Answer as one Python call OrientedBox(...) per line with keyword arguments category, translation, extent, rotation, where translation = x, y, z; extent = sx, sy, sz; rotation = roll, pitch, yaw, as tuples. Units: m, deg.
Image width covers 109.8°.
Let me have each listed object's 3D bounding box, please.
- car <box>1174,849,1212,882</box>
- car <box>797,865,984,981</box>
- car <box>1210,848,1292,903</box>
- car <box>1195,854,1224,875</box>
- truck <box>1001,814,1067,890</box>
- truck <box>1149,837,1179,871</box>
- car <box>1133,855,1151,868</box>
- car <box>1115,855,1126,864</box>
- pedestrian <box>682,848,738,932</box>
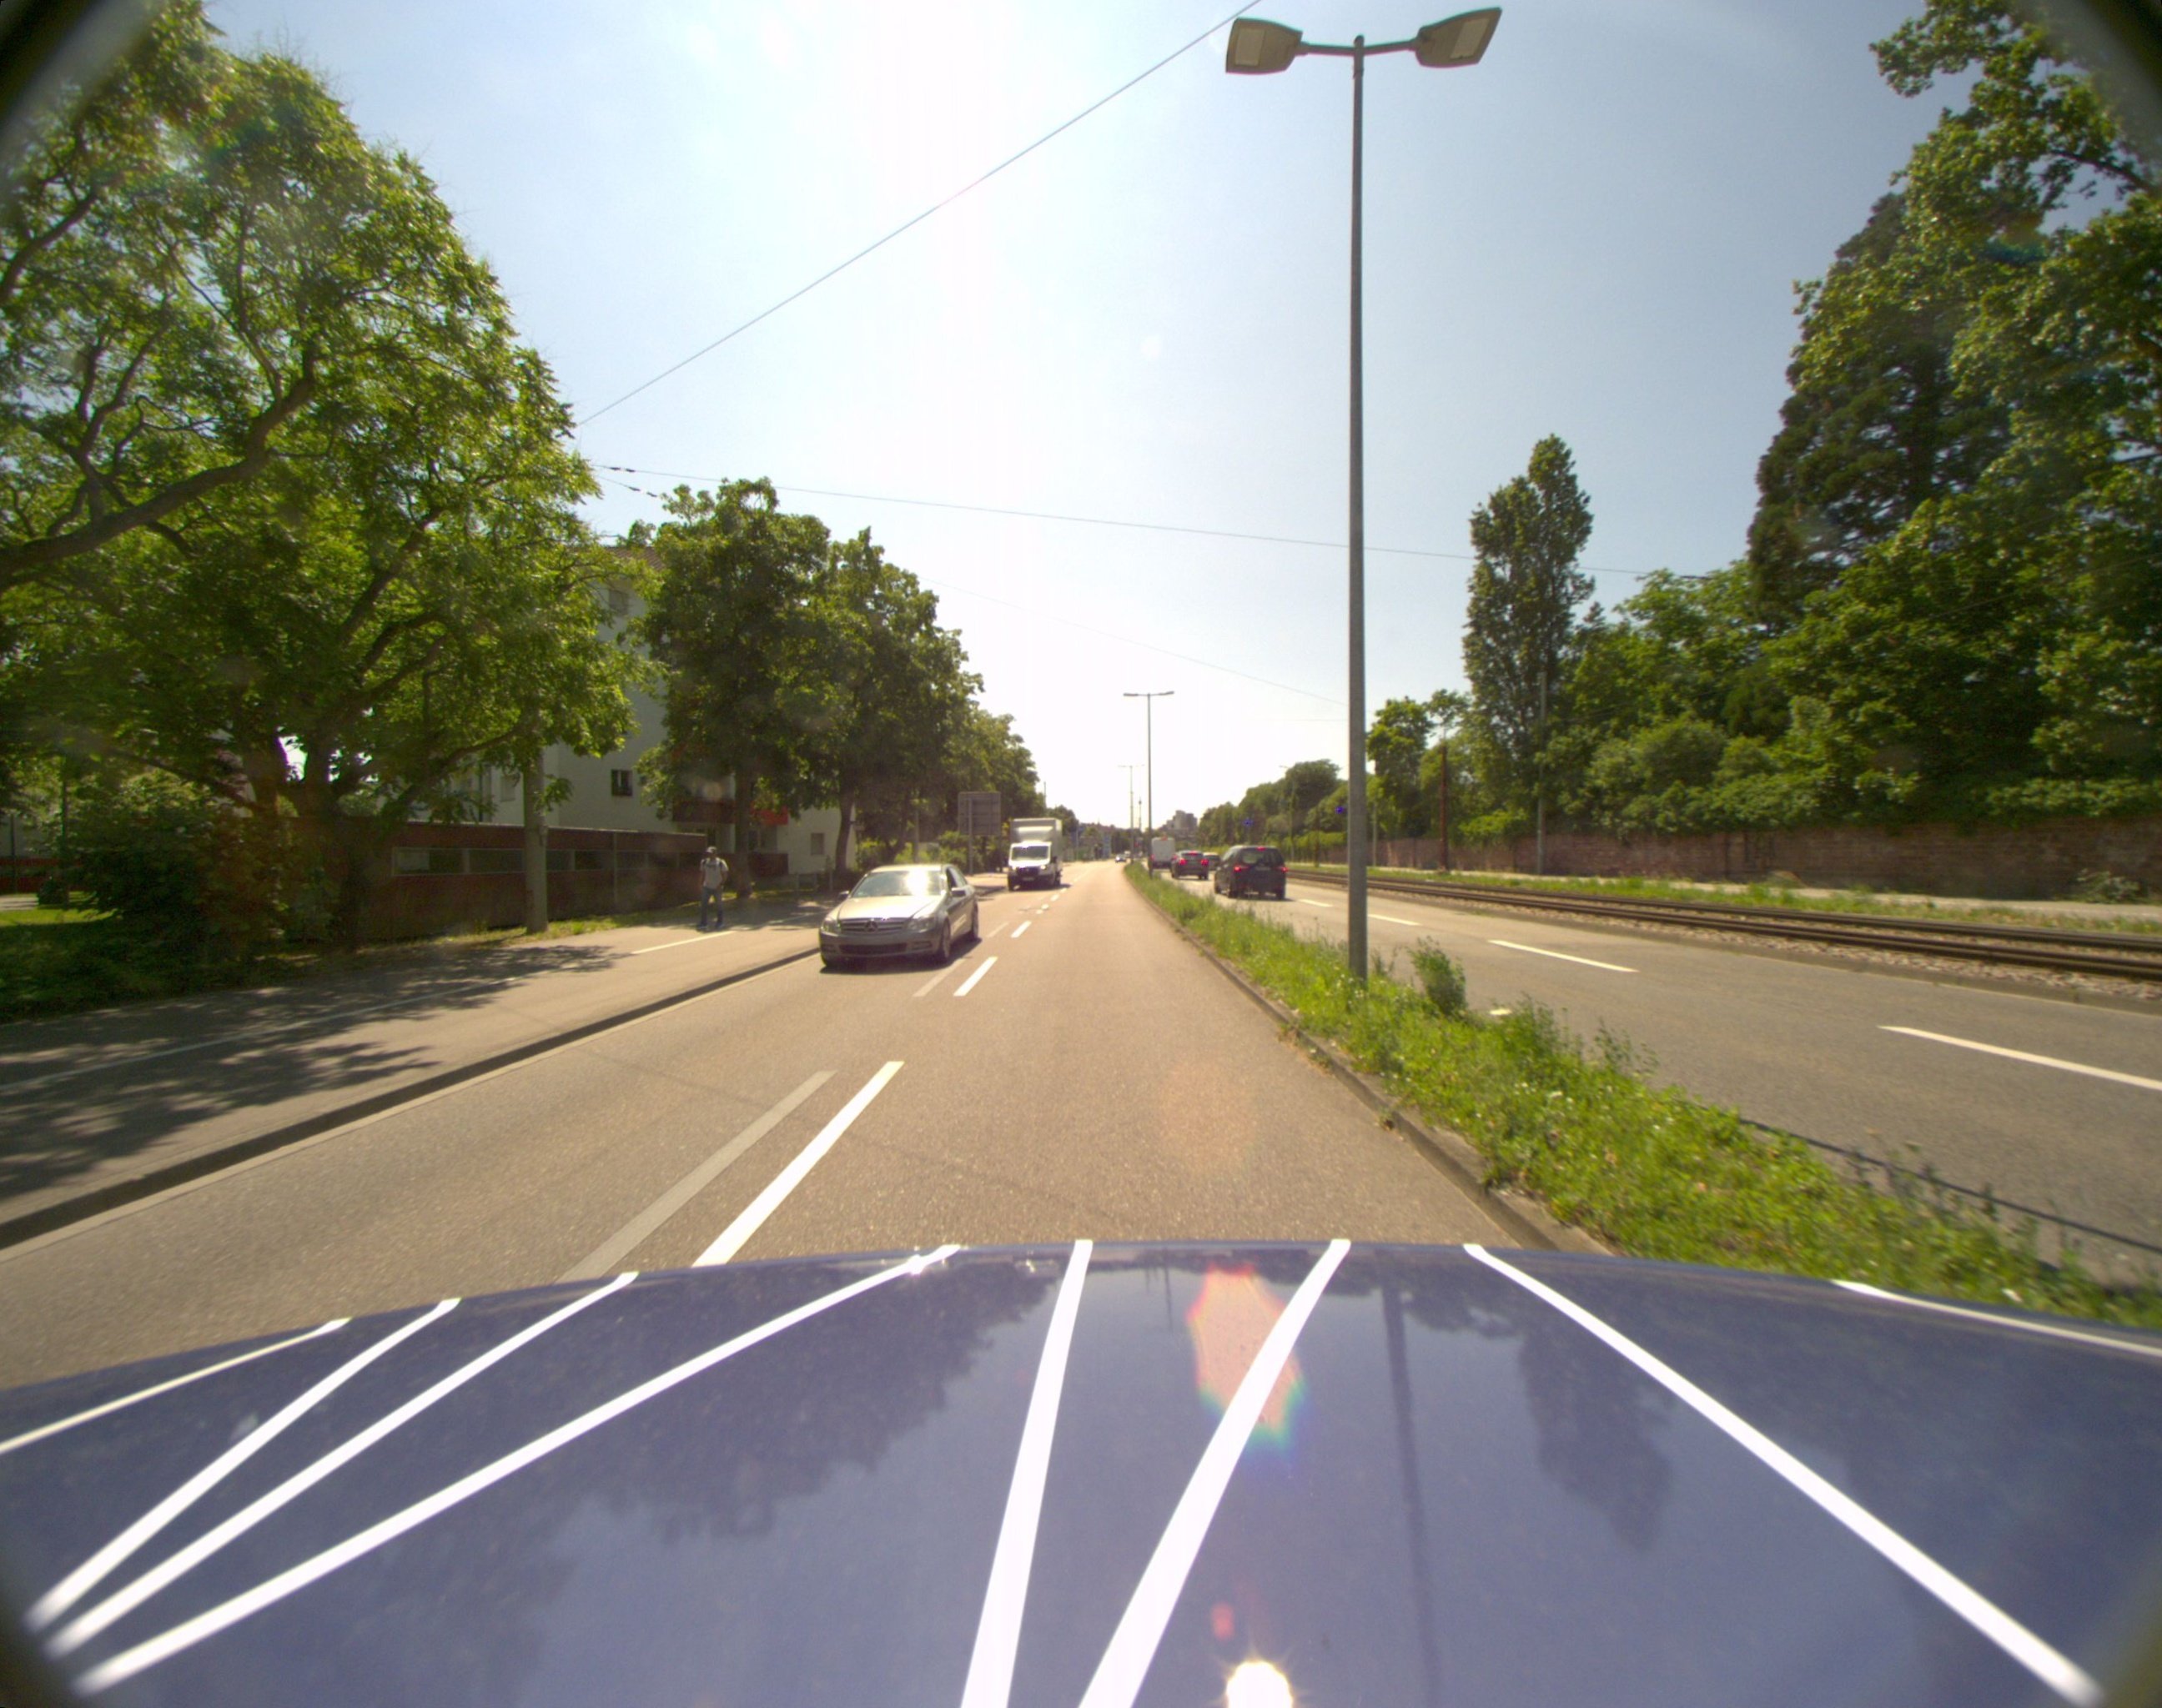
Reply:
OrientedBox(category="car", translation=(6.424, 0.629, 44.094), extent=(1.833, 1.746, 4.489), rotation=(1, 0, 4))
OrientedBox(category="car", translation=(-2.822, 0.959, 12.220), extent=(1.903, 1.451, 3.971), rotation=(-2, 0, 1))
OrientedBox(category="car", translation=(5.718, 0.658, 26.143), extent=(1.833, 1.703, 4.793), rotation=(1, 0, 1))
OrientedBox(category="car", translation=(10.064, 0.813, 59.572), extent=(1.833, 1.576, 3.772), rotation=(1, 0, 4))
OrientedBox(category="truck", translation=(-2.126, -0.125, 37.381), extent=(2.294, 3.259, 8.312), rotation=(-1, 1, 2))
OrientedBox(category="truck", translation=(6.900, -0.011, 63.753), extent=(2.086, 2.732, 5.547), rotation=(1, 0, 2))
OrientedBox(category="car", translation=(6.661, 0.820, 83.178), extent=(1.720, 1.450, 3.914), rotation=(0, 0, 2))
OrientedBox(category="car", translation=(6.866, 0.990, 133.889), extent=(1.829, 1.556, 4.000), rotation=(-1, 0, 2))
OrientedBox(category="pedestrian", translation=(-7.455, 0.703, 15.306), extent=(0.670, 1.634, 0.856), rotation=(-1, 1, 1))
